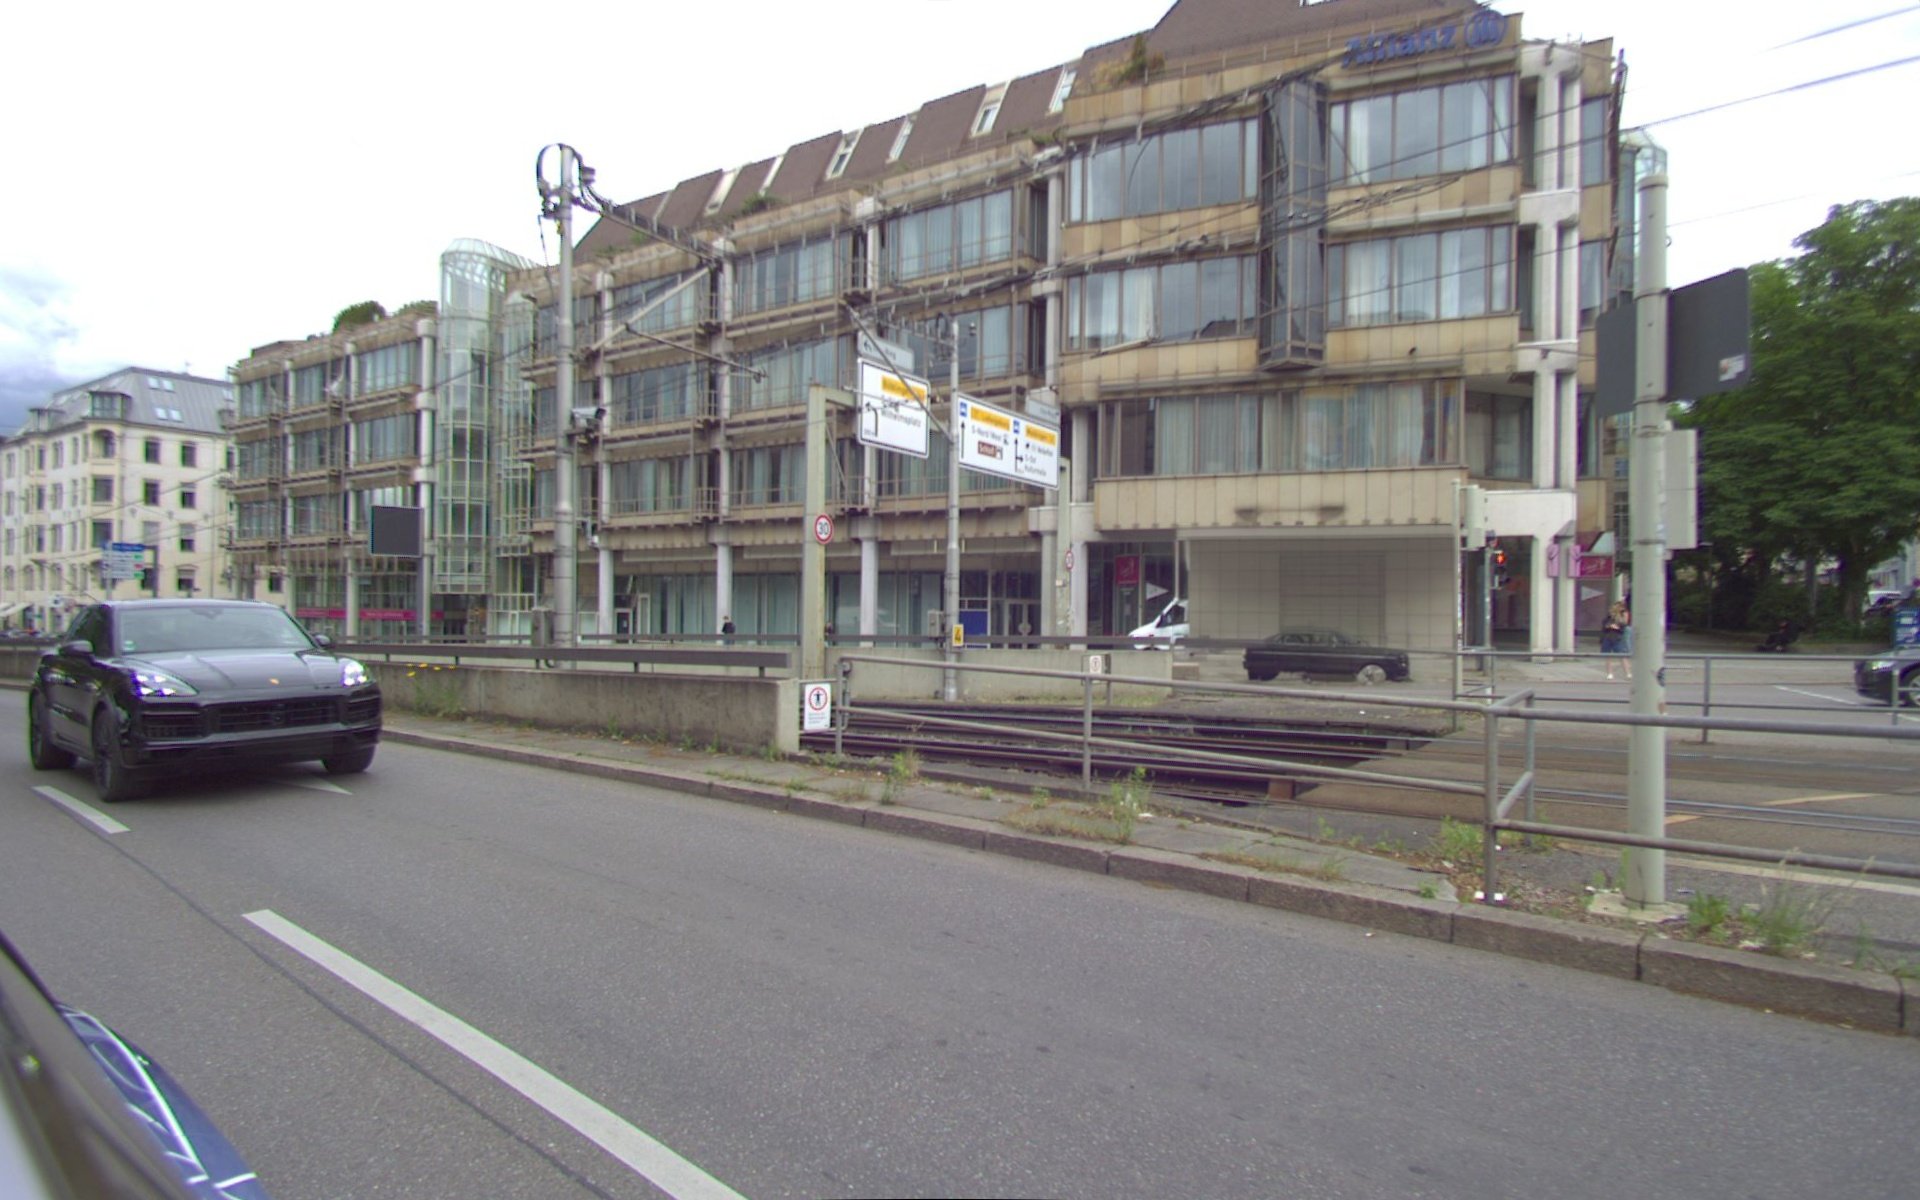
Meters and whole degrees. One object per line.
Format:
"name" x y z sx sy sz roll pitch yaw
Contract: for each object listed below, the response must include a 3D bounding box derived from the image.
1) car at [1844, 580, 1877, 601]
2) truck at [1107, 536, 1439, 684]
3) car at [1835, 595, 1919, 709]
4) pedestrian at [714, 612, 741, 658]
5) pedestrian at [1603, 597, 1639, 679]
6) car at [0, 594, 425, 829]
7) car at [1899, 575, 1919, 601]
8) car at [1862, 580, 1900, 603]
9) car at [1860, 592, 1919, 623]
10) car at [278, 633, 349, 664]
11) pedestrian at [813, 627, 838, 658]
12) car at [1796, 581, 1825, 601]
"car" 77.939 -0.789 87.608 1.646 1.724 3.608 -2 -1 34
"truck" 7.343 0.314 24.455 7.362 3.100 2.245 -1 -3 37
"car" 14.821 0.685 13.628 4.534 1.564 1.639 -2 -1 42
"pedestrian" -9.365 1.391 40.752 0.738 1.825 0.724 -1 0 35
"pedestrian" 14.795 0.843 22.649 0.577 1.793 0.504 -2 -2 42
"car" -7.578 0.828 9.680 5.337 1.687 2.066 -1 0 34
"car" 67.878 -0.847 71.488 1.646 1.724 3.608 -2 -1 34
"car" 72.499 -0.661 79.679 1.646 1.724 3.608 -2 -1 34
"car" 53.773 0.444 58.091 1.914 1.724 4.455 -1 -1 25
"car" -33.674 2.526 52.666 4.404 1.512 1.649 -2 -2 36
"pedestrian" -5.598 1.765 42.108 0.738 1.275 0.724 -1 0 35
"car" 79.277 -0.842 94.374 1.646 1.724 3.608 -2 -1 34
